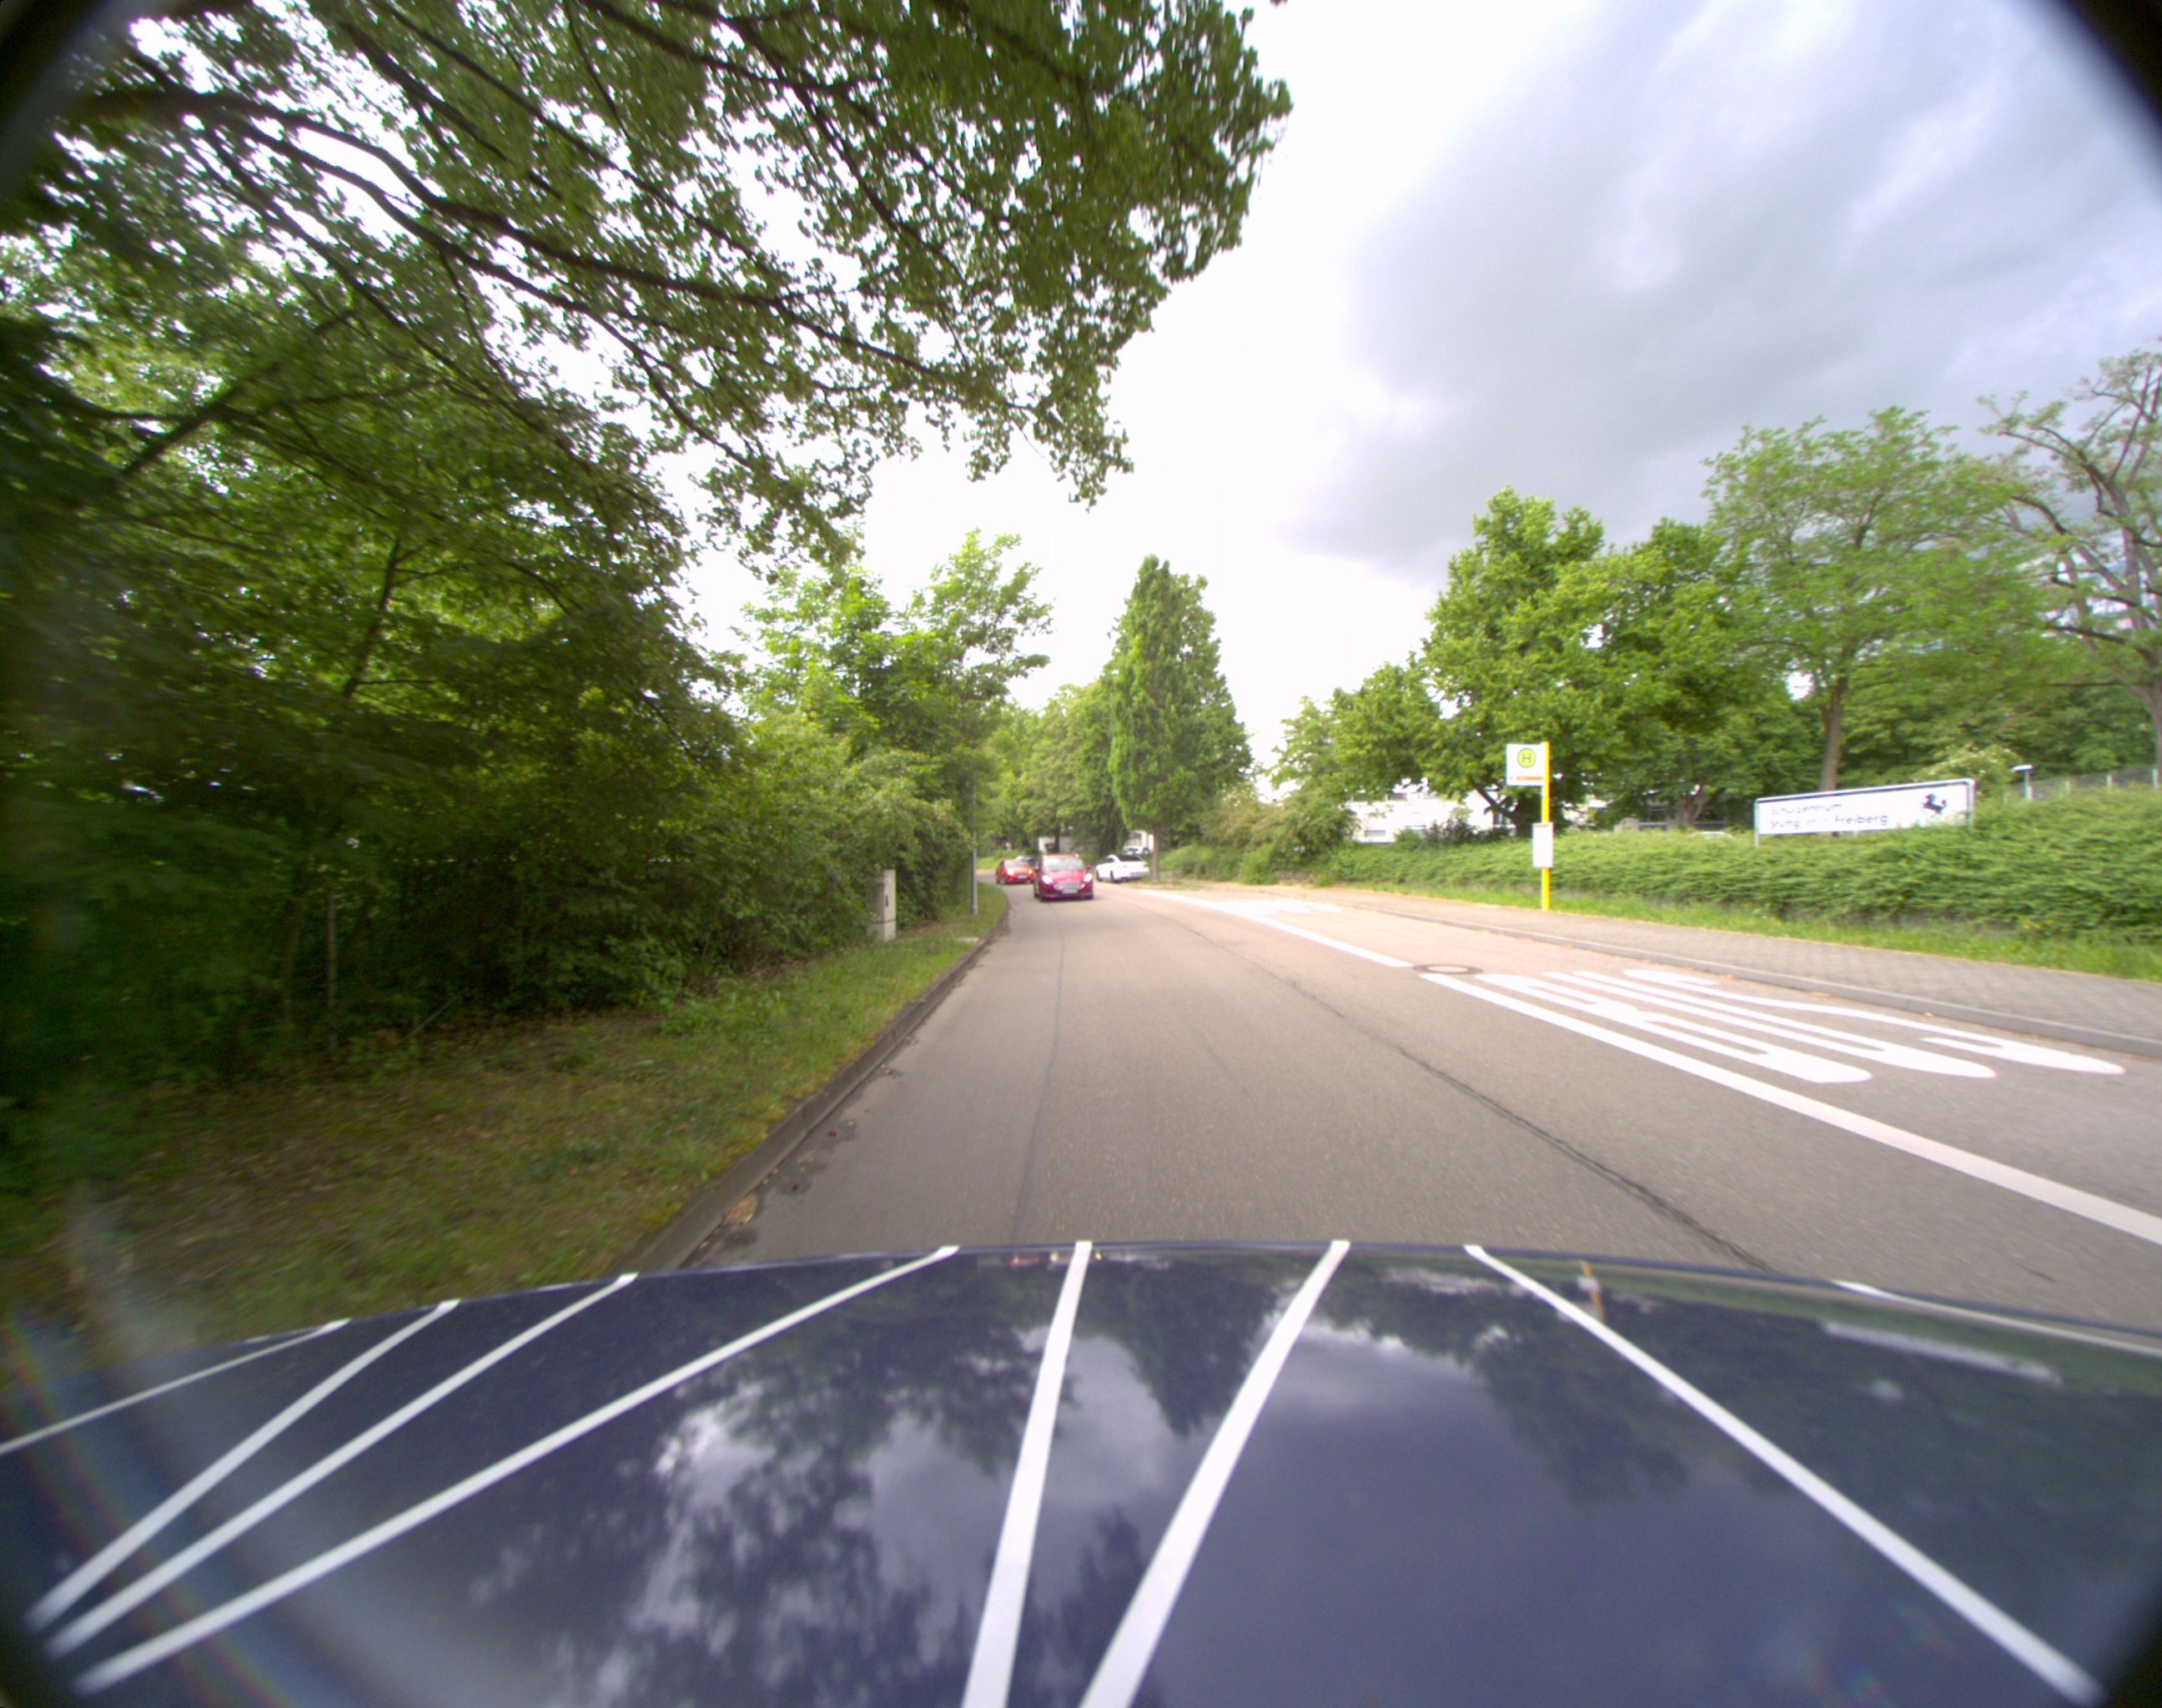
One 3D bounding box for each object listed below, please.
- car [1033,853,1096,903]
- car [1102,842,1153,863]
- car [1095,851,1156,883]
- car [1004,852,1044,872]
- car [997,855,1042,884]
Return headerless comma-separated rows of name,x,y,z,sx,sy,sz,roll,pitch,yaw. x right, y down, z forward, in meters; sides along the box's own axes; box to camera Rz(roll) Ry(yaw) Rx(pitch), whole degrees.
car,-0.684,0.809,27.822,1.946,1.550,4.353,-2,1,-5
car,4.003,-0.138,65.630,3.802,1.629,2.003,-2,2,31
car,2.195,0.619,38.913,1.854,1.483,4.630,-2,1,-13
car,-4.597,0.634,60.884,1.856,1.483,3.992,-2,1,-26
car,-3.673,0.870,44.408,1.949,1.523,4.081,-3,1,-14
